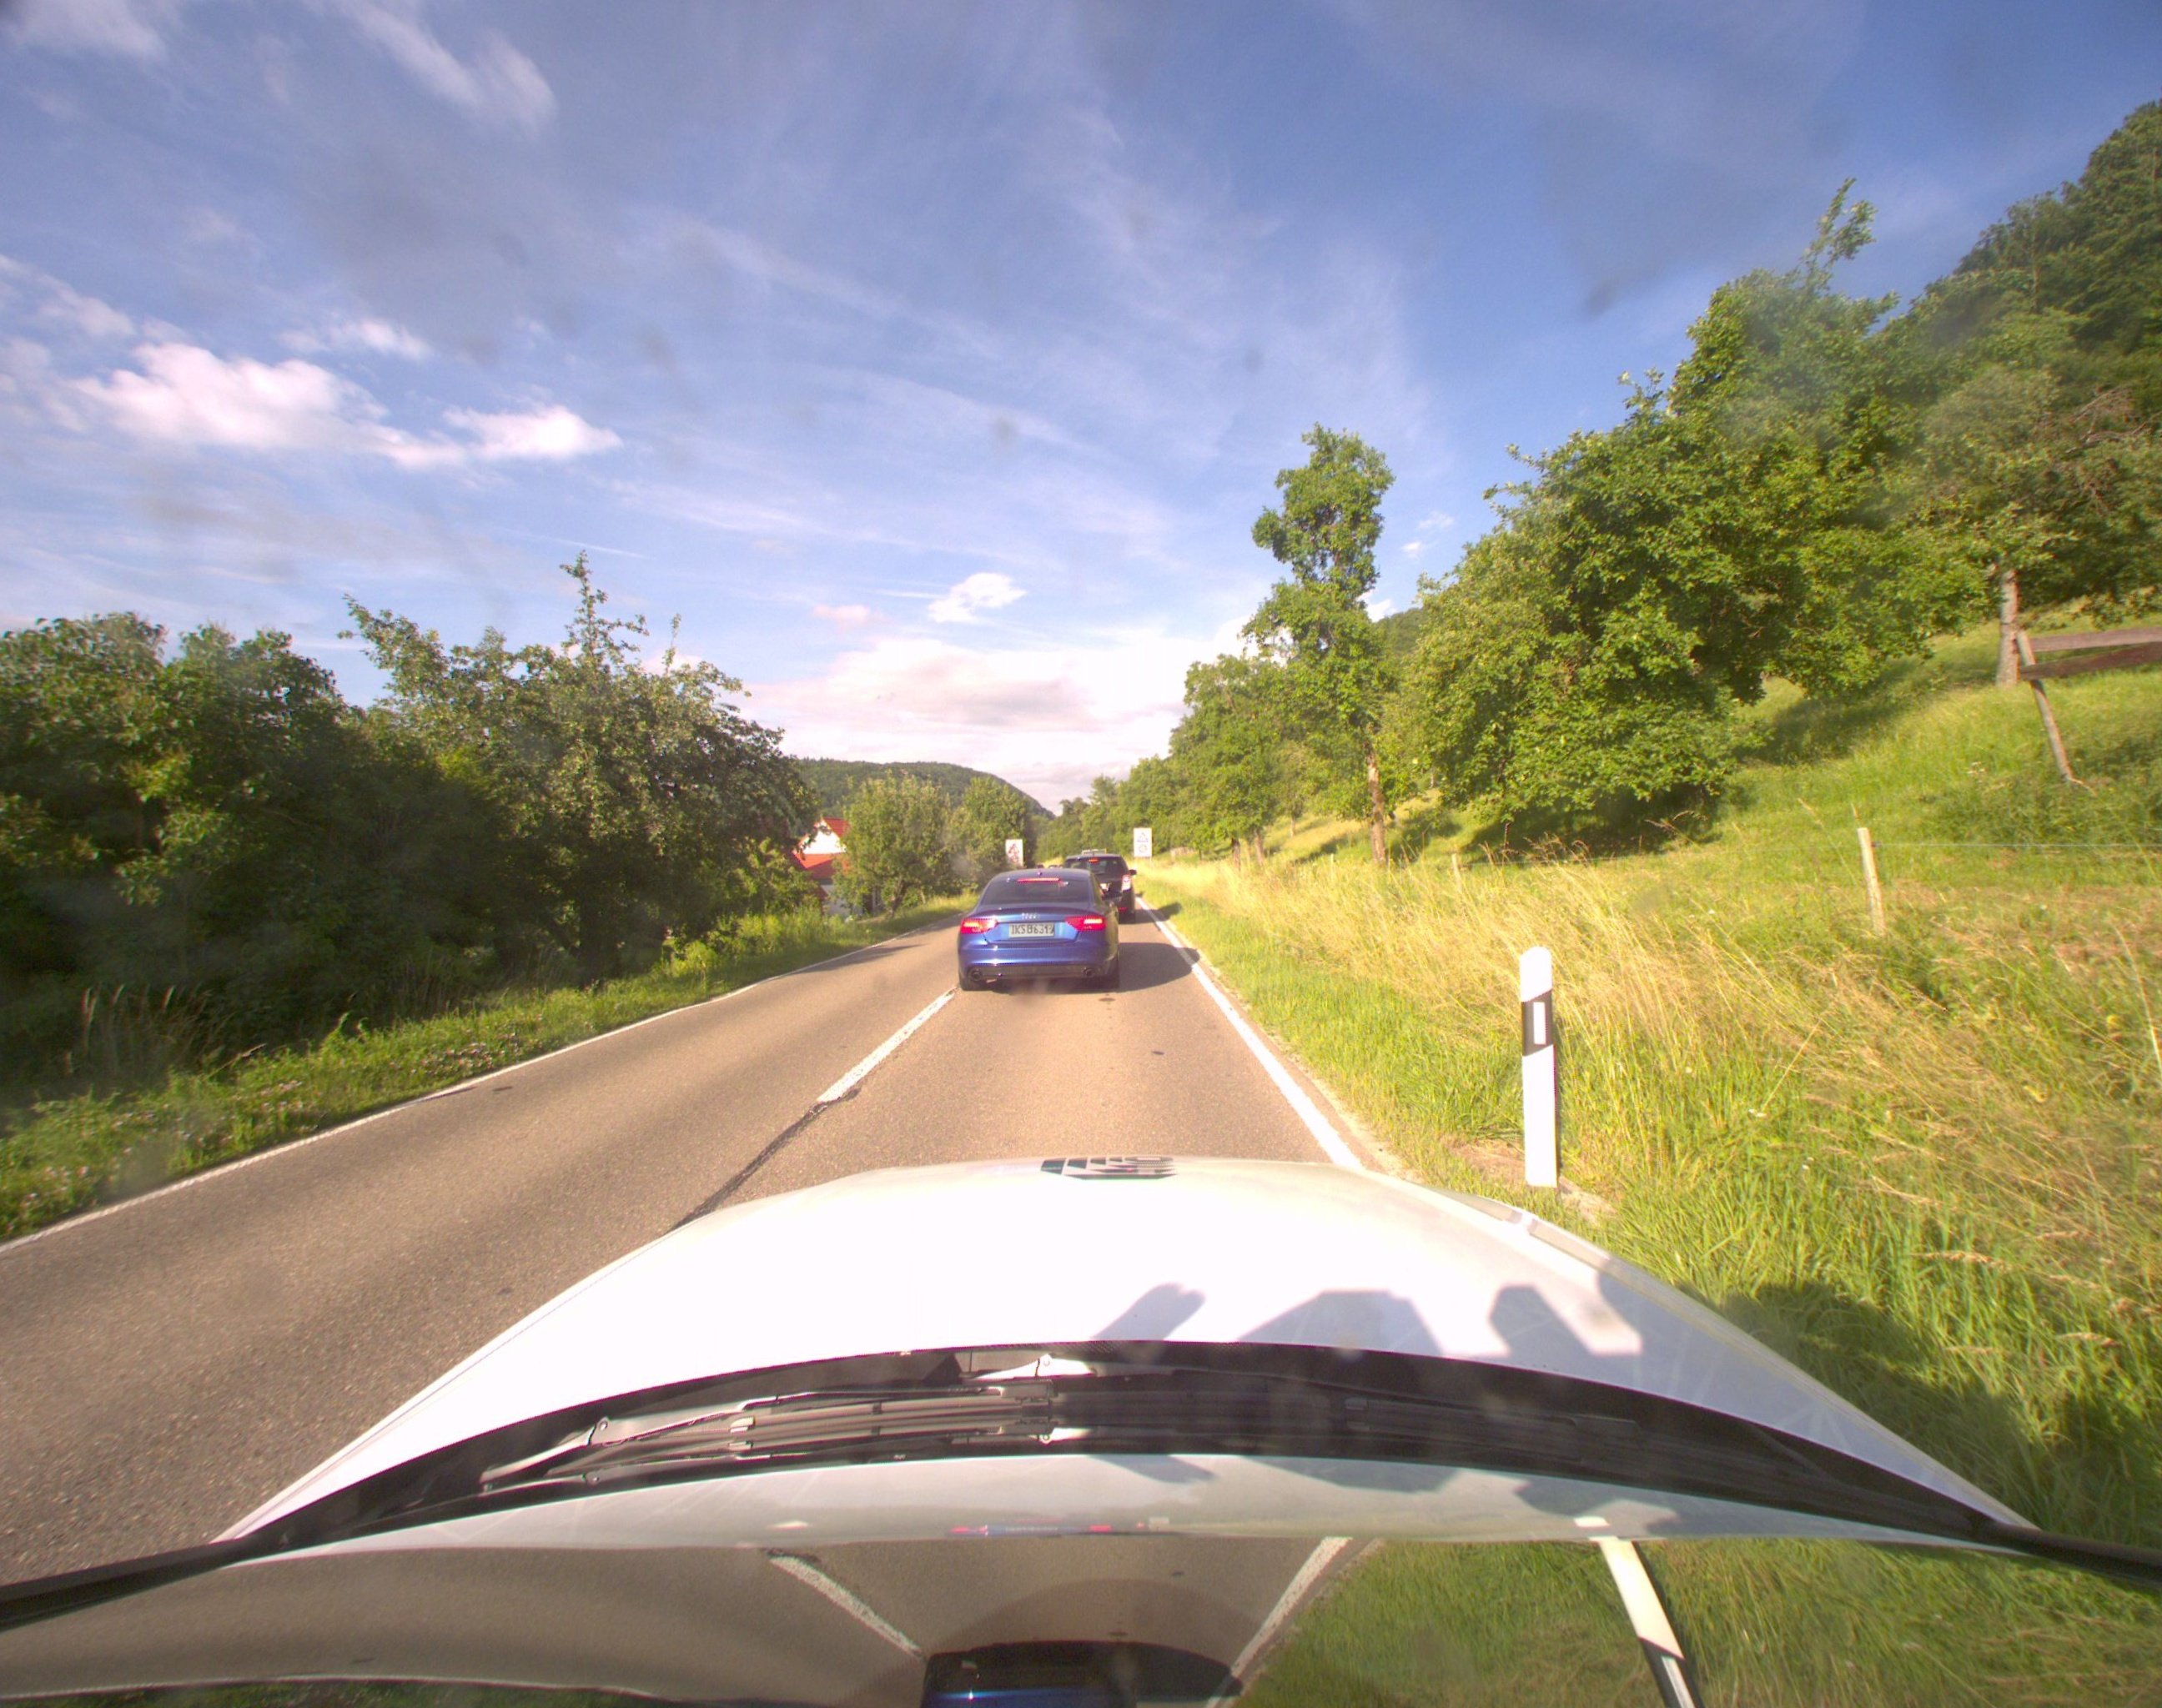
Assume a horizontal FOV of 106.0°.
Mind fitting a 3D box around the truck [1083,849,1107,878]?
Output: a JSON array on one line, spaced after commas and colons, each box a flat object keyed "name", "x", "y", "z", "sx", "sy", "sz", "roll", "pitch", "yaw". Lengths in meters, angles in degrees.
[{"name": "truck", "x": 1.189, "y": 0.779, "z": 69.213, "sx": 1.943, "sy": 2.345, "sz": 5.094, "roll": 0, "pitch": 0, "yaw": 1}]

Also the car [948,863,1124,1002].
[{"name": "car", "x": -0.390, "y": 0.835, "z": 10.515, "sx": 1.799, "sy": 1.382, "sz": 4.216, "roll": -1, "pitch": 0, "yaw": 2}]

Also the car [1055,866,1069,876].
[{"name": "car", "x": -2.997, "y": 2.722, "z": 129.064, "sx": 1.747, "sy": 1.496, "sz": 3.767, "roll": 1, "pitch": 0, "yaw": -8}]

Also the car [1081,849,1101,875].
[{"name": "car", "x": 0.951, "y": 0.742, "z": 79.127, "sx": 1.787, "sy": 2.453, "sz": 3.917, "roll": 1, "pitch": 0, "yaw": -1}]

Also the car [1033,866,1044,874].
[{"name": "car", "x": -8.480, "y": 3.193, "z": 161.712, "sx": 1.559, "sy": 1.496, "sz": 3.764, "roll": 1, "pitch": 0, "yaw": -11}]

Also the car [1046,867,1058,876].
[{"name": "car", "x": -5.070, "y": 3.018, "z": 143.189, "sx": 1.559, "sy": 1.496, "sz": 3.765, "roll": 1, "pitch": 0, "yaw": -10}]

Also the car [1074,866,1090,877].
[{"name": "car", "x": 0.085, "y": 2.360, "z": 110.628, "sx": 1.746, "sy": 1.496, "sz": 3.769, "roll": 1, "pitch": 0, "yaw": -7}]

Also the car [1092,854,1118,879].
[{"name": "car", "x": 1.645, "y": 0.835, "z": 55.777, "sx": 1.686, "sy": 1.624, "sz": 3.790, "roll": -1, "pitch": 0, "yaw": 1}]

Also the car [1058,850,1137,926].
[{"name": "car", "x": 0.399, "y": 0.733, "z": 19.456, "sx": 1.686, "sy": 1.624, "sz": 3.790, "roll": -1, "pitch": 0, "yaw": 1}]
